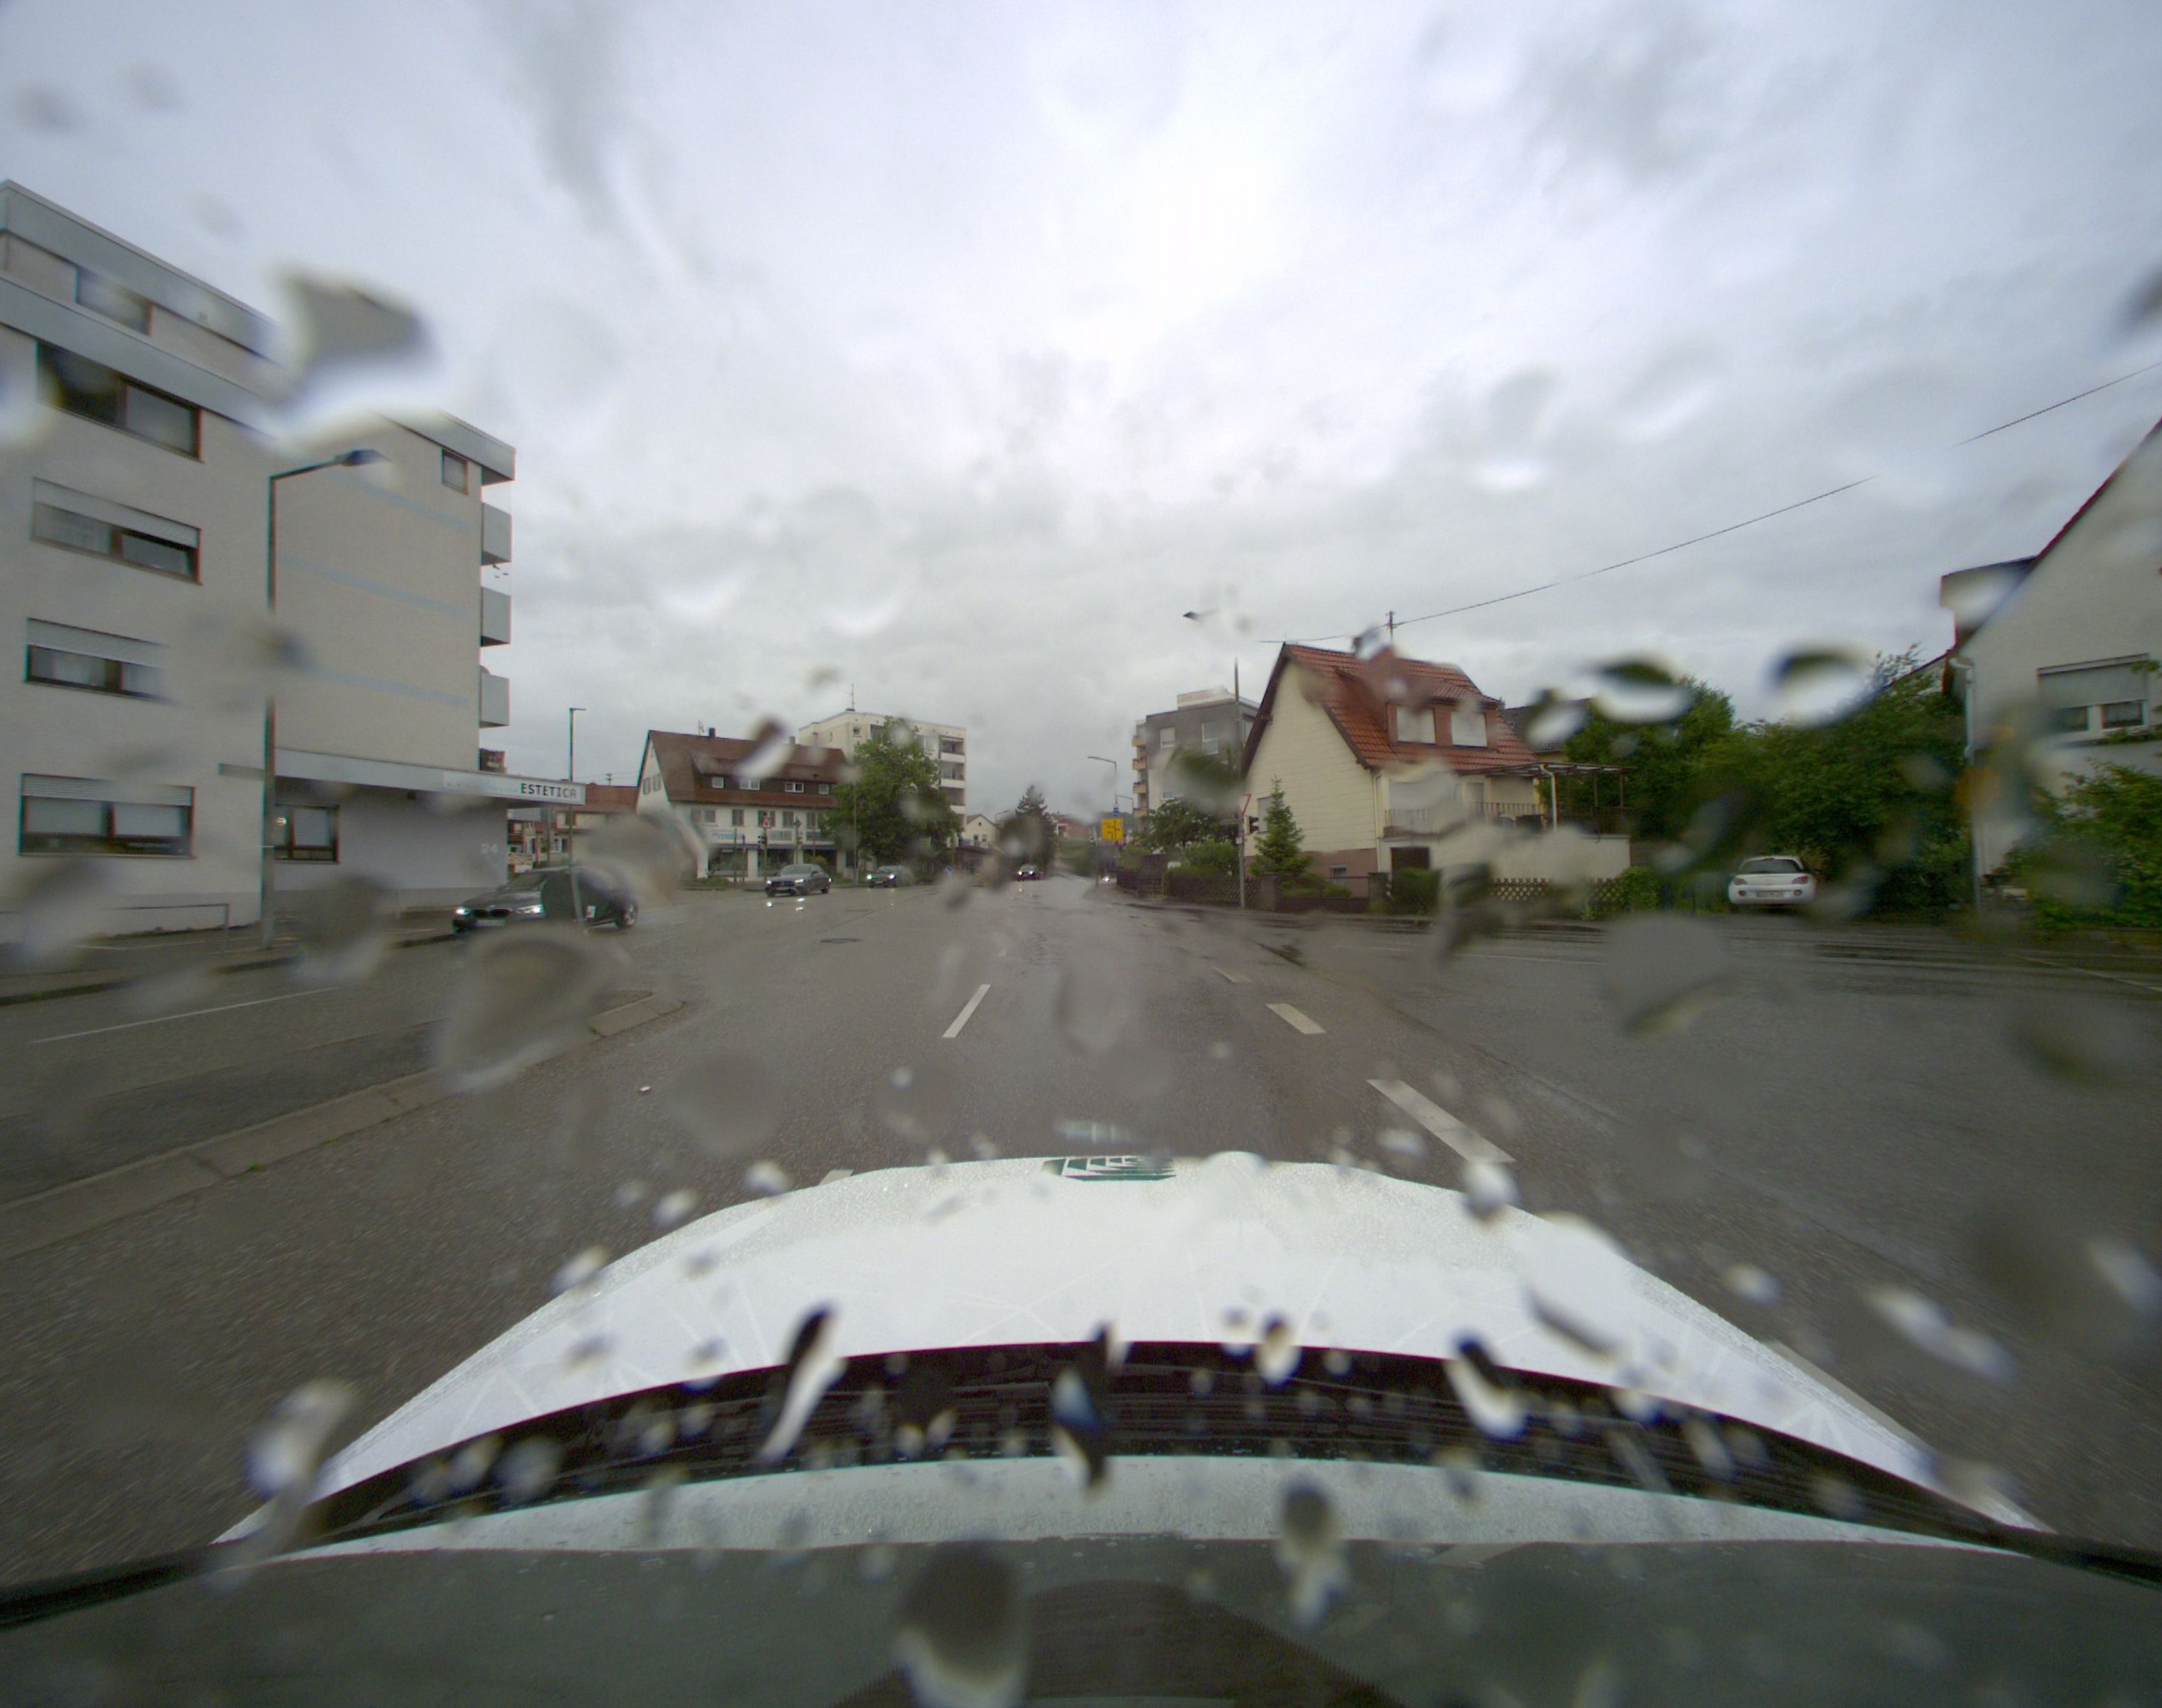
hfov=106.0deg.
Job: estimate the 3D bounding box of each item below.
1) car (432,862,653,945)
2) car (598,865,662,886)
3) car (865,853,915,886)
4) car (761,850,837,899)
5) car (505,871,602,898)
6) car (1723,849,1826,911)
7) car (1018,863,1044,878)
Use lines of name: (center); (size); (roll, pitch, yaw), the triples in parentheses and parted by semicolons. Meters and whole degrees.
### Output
car: (-10.889, 0.920, 16.902); (1.782, 1.472, 4.163); (-1, -1, 0)
car: (-34.621, 1.605, 62.508); (4.019, 1.526, 1.977); (0, -1, -39)
car: (-12.248, 0.958, 52.558); (1.986, 2.014, 4.654); (-1, -1, 2)
car: (-13.274, 0.929, 38.796); (2.088, 2.013, 5.965); (-3, 0, -7)
car: (-39.622, 2.267, 61.305); (1.975, 1.842, 5.886); (-1, -1, 45)
car: (18.224, 0.634, 21.564); (1.827, 1.496, 3.766); (-2, -1, 37)
car: (-5.138, 1.673, 83.645); (1.792, 1.557, 4.328); (-1, -1, 9)
